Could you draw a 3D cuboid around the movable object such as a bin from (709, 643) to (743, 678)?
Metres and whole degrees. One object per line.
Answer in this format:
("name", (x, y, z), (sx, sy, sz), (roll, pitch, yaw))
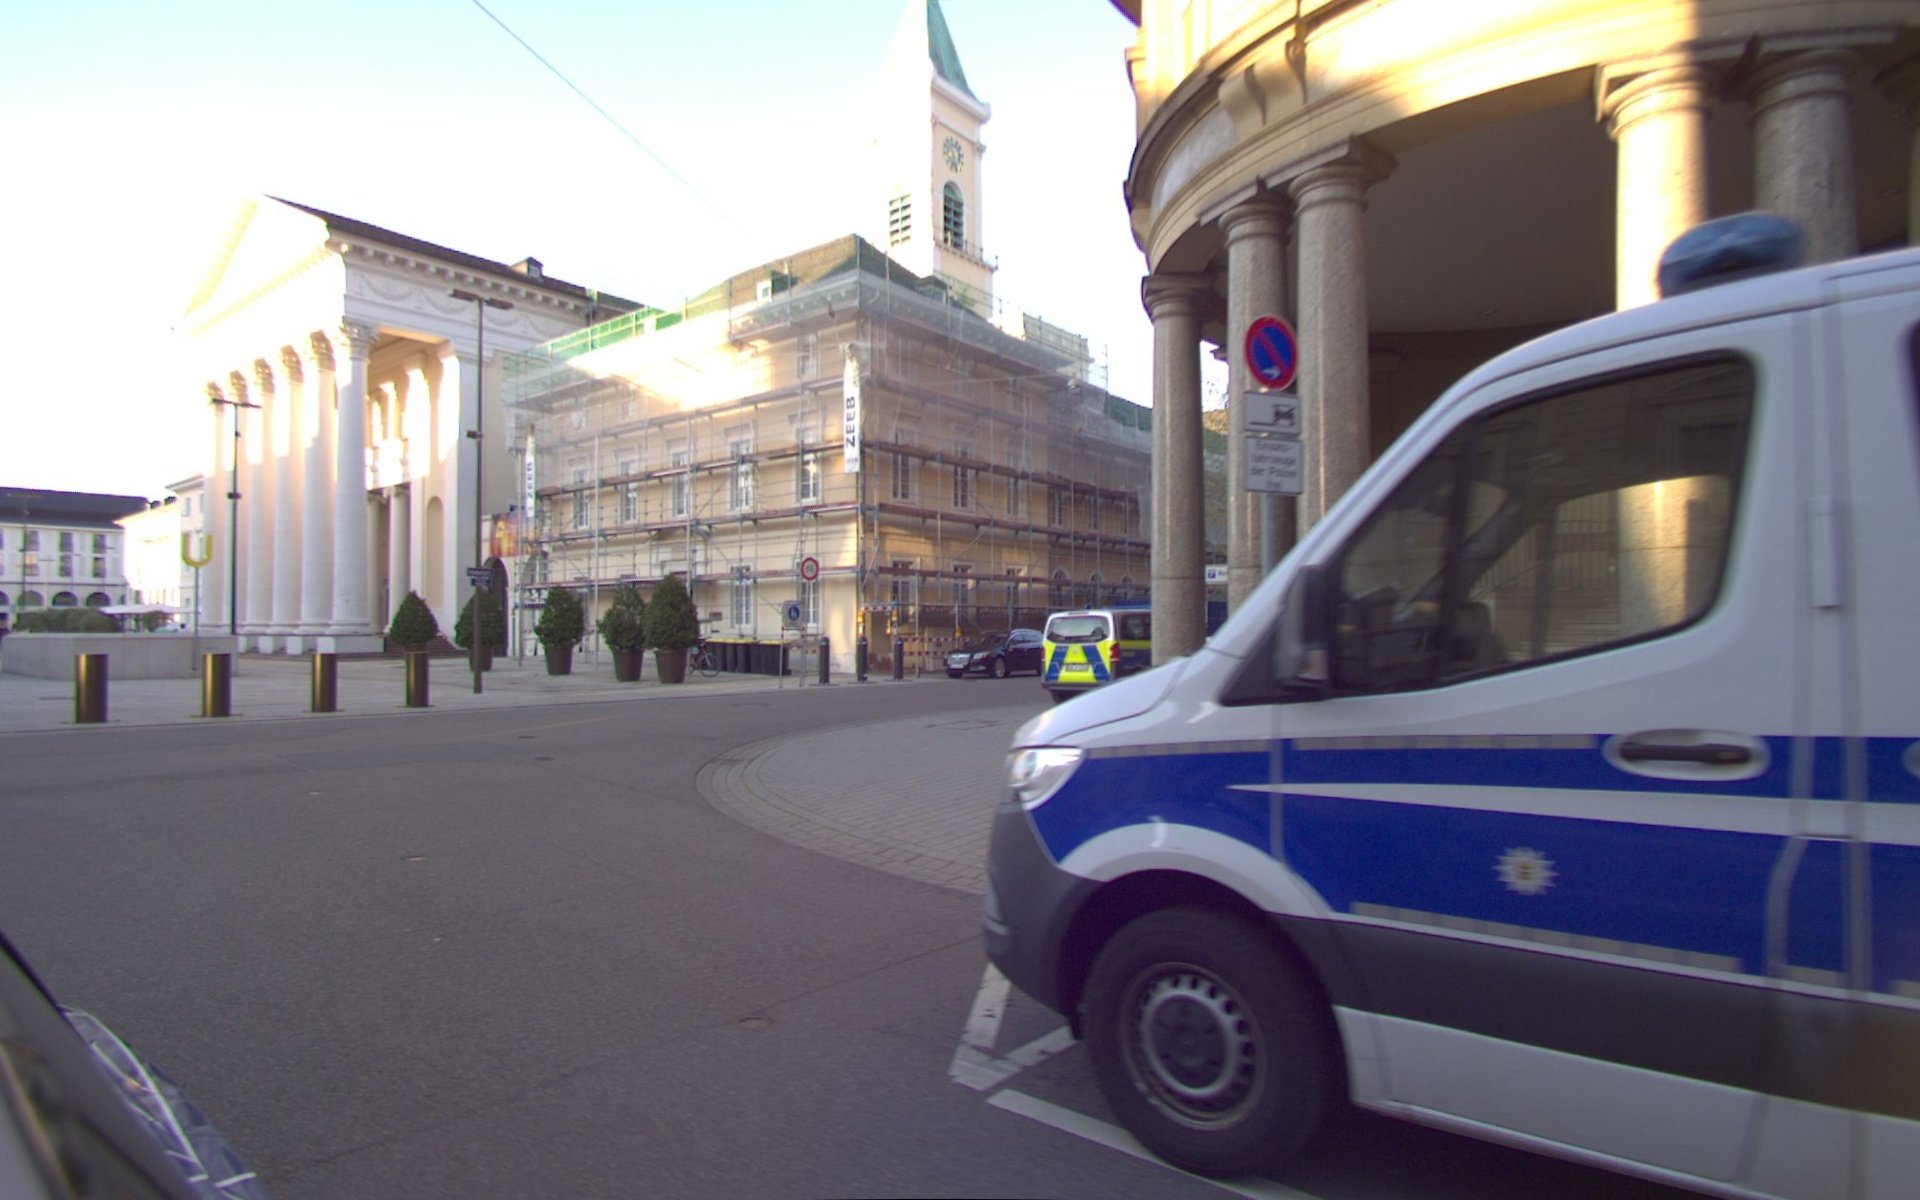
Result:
("movable object such as a bin", (-7.606, 1.950, 32.886), (0.722, 1.085, 0.801), (-2, -2, 41))

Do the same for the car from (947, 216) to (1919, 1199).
("car", (2.622, 0.389, 2.487), (5.197, 2.188, 1.975), (-1, -2, 36))

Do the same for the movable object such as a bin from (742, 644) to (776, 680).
("movable object such as a bin", (-6.318, 1.948, 31.838), (0.722, 1.085, 0.801), (-2, -2, 41))

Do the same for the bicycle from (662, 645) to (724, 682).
("bicycle", (-8.261, 1.957, 31.295), (1.839, 1.120, 0.630), (-1, -2, 21))

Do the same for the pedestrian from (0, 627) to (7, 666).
("pedestrian", (-48.428, 2.325, 50.565), (0.881, 1.926, 1.077), (-2, -2, 42))

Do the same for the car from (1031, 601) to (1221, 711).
("car", (3.480, 1.103, 20.781), (2.000, 2.029, 3.943), (-3, -3, 43))

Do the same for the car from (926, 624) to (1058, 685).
("car", (1.036, 1.640, 31.388), (2.000, 1.749, 3.943), (-2, -2, 43))

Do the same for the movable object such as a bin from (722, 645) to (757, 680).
("movable object such as a bin", (-7.046, 1.983, 32.355), (0.722, 1.085, 0.801), (-2, -2, 41))

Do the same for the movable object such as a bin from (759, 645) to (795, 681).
("movable object such as a bin", (-5.648, 1.928, 31.244), (0.722, 1.085, 0.801), (-2, -2, 41))
